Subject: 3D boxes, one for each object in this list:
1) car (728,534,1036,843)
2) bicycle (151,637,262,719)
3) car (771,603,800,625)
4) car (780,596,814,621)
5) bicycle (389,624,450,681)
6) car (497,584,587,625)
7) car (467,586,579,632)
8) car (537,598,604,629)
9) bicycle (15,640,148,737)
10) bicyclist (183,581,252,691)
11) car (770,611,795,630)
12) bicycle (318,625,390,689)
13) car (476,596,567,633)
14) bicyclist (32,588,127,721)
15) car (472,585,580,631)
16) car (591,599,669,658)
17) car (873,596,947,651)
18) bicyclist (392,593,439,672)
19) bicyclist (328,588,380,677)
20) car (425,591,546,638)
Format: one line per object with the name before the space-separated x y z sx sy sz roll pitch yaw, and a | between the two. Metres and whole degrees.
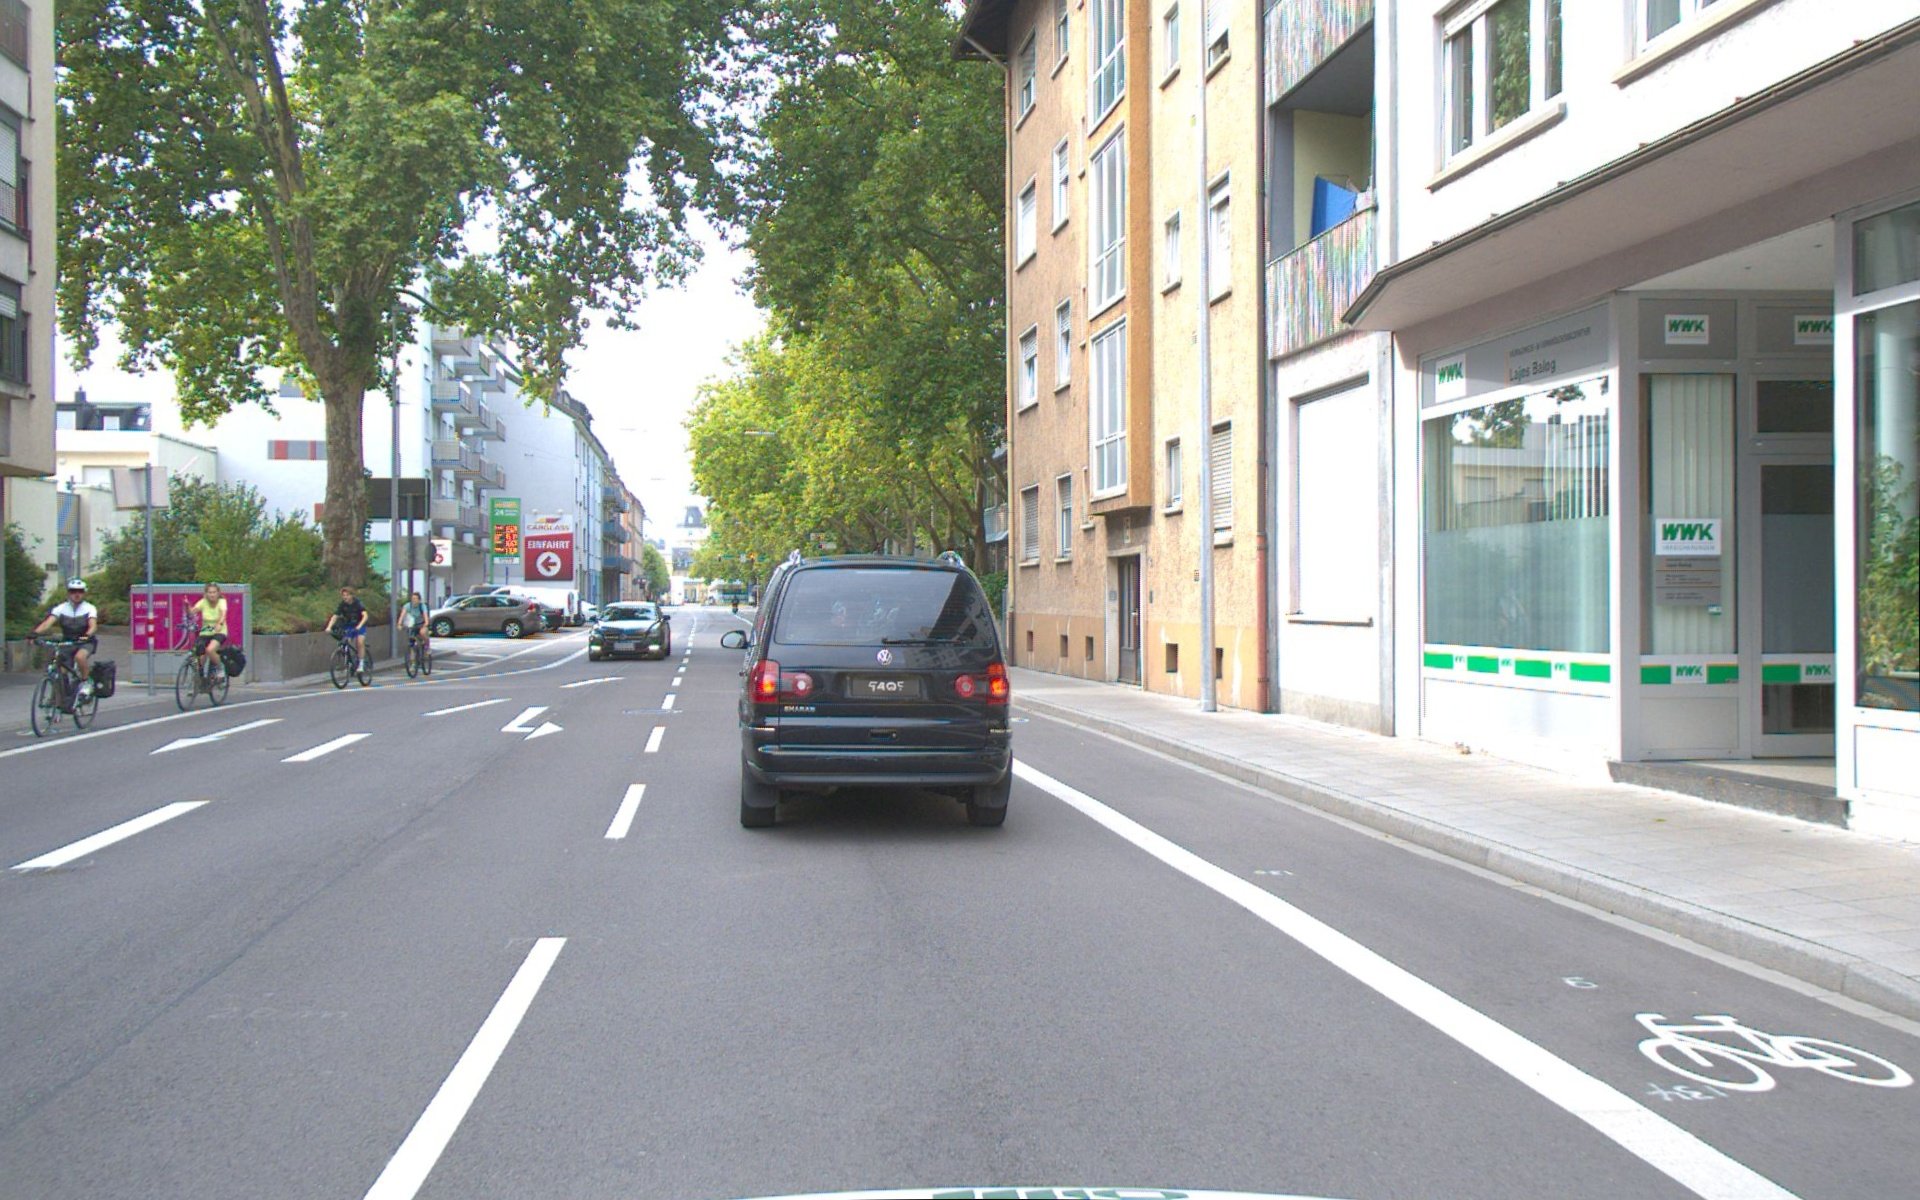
car | -0.709 0.499 11.617 1.778 1.796 3.731 1 1 -9
bicycle | -10.945 1.105 24.116 0.723 1.024 2.250 1 1 -5
car | -11.744 0.953 111.144 1.613 1.438 3.405 0 0 -13
car | -9.459 0.477 95.958 1.645 1.418 4.450 0 0 -10
bicycle | -11.068 1.061 33.950 0.723 1.024 2.193 1 1 -6
car | -21.229 0.238 84.075 4.230 1.902 1.819 2 -1 -11
car | -20.442 0.439 77.555 4.826 1.936 1.995 2 -1 -10
car | -20.352 0.686 86.497 3.283 1.523 1.592 2 -1 -11
bicycle | -10.687 1.056 20.194 0.723 1.024 1.907 1 1 -5
bicyclist | -10.857 0.519 24.213 0.644 1.552 0.840 1 1 -5
car | -13.619 1.543 126.673 1.645 1.418 3.869 0 0 -10
bicycle | -10.925 1.016 29.882 0.723 1.024 1.974 1 1 -6
car | -19.108 0.612 72.227 3.615 1.470 1.749 2 0 -10
bicyclist | -10.730 0.643 20.188 0.644 1.552 1.001 1 1 -5
car | -19.635 0.349 74.931 4.442 1.911 2.043 2 0 -9
car | -8.432 0.698 42.538 1.777 1.432 4.598 0 0 -9
car | -1.479 0.647 47.507 1.627 1.447 3.858 0 1 -9
bicyclist | -11.173 0.662 33.965 0.644 1.552 1.075 1 1 -5
bicyclist | -10.943 0.582 29.872 0.644 1.552 0.855 1 1 -5
car | -18.222 0.561 63.651 4.177 1.633 1.964 1 1 -9
